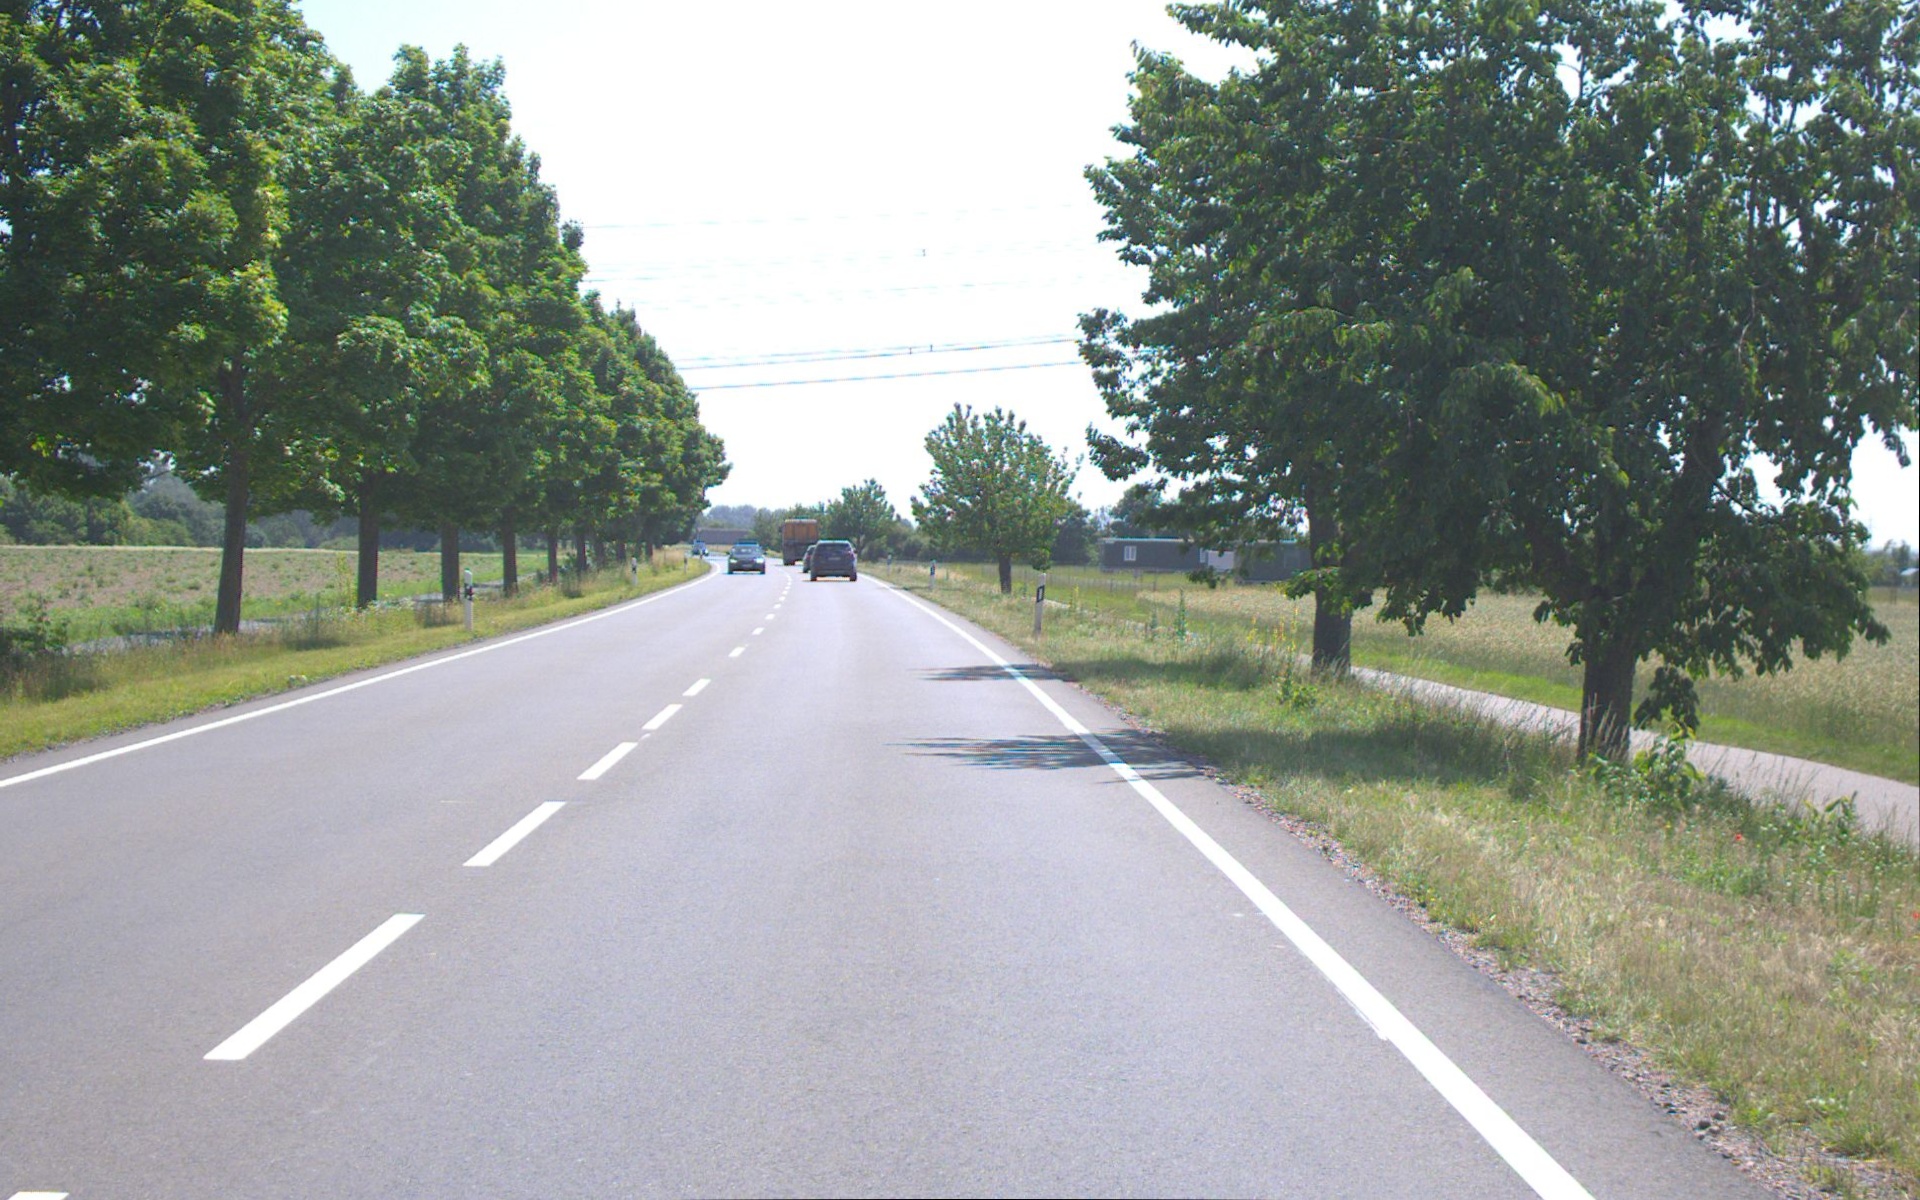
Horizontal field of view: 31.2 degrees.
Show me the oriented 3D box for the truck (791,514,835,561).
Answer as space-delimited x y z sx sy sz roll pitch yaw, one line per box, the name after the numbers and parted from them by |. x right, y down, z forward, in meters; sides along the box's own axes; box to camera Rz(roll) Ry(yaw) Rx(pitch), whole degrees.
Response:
-10.228 -4.364 238.552 2.370 3.129 8.750 1 1 -7 | truck

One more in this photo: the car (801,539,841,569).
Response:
-7.289 -2.403 179.999 1.850 1.517 4.001 0 1 -6 | car

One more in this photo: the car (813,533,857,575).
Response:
-5.153 -1.872 141.450 1.714 1.688 3.989 0 1 -3 | car

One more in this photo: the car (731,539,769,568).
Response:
-10.547 -2.335 172.266 1.821 1.415 4.590 0 1 -4 | car
